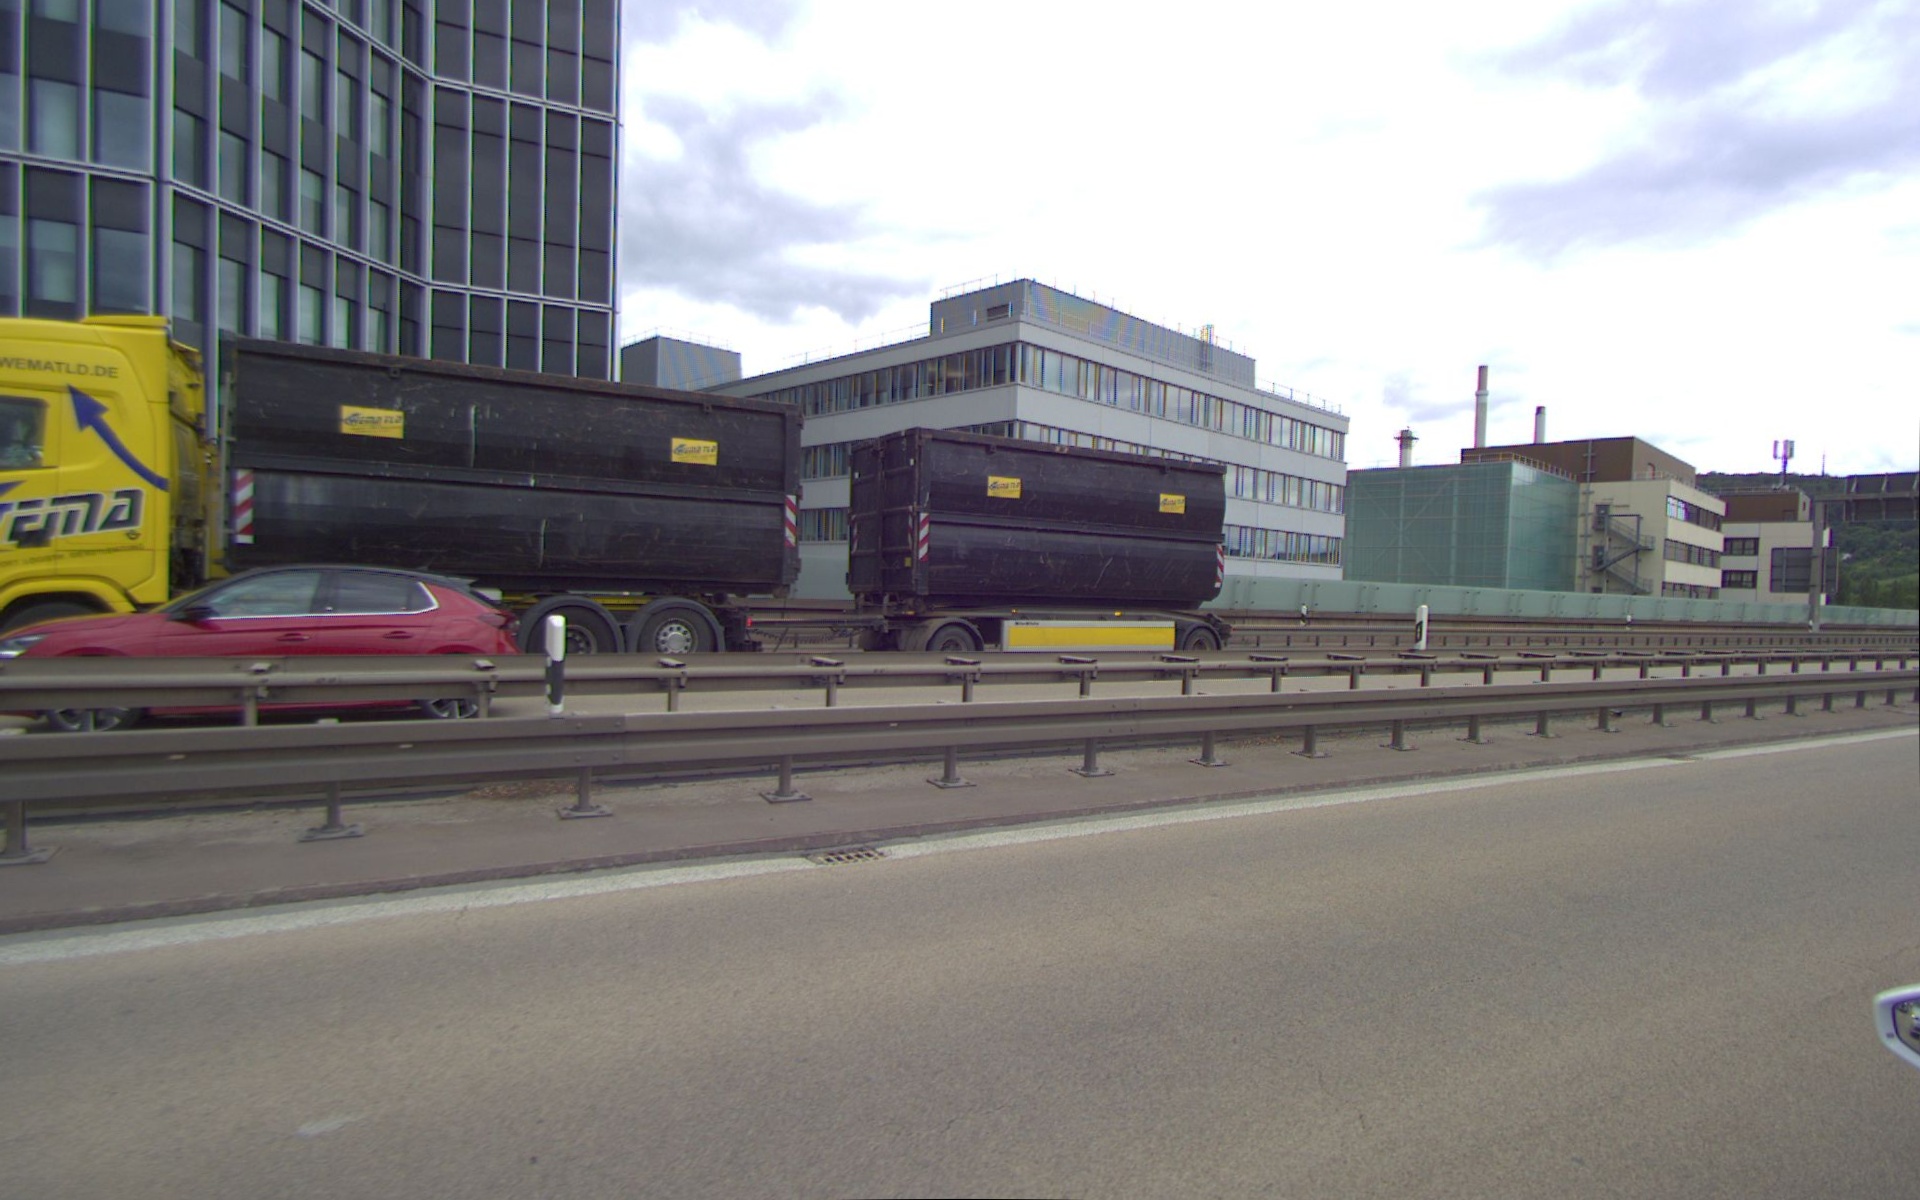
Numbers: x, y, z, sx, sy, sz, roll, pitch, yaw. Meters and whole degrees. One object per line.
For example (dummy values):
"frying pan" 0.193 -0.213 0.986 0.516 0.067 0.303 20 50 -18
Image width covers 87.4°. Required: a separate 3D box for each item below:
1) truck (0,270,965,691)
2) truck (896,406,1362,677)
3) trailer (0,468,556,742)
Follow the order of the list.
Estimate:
"truck" -5.801 -1.035 13.619 11.713 4.119 3.044 2 0 -29
"truck" 3.353 -0.783 18.768 8.562 4.119 3.042 2 0 -30
"trailer" -5.996 0.062 9.287 3.953 2.040 1.984 1 0 -30
